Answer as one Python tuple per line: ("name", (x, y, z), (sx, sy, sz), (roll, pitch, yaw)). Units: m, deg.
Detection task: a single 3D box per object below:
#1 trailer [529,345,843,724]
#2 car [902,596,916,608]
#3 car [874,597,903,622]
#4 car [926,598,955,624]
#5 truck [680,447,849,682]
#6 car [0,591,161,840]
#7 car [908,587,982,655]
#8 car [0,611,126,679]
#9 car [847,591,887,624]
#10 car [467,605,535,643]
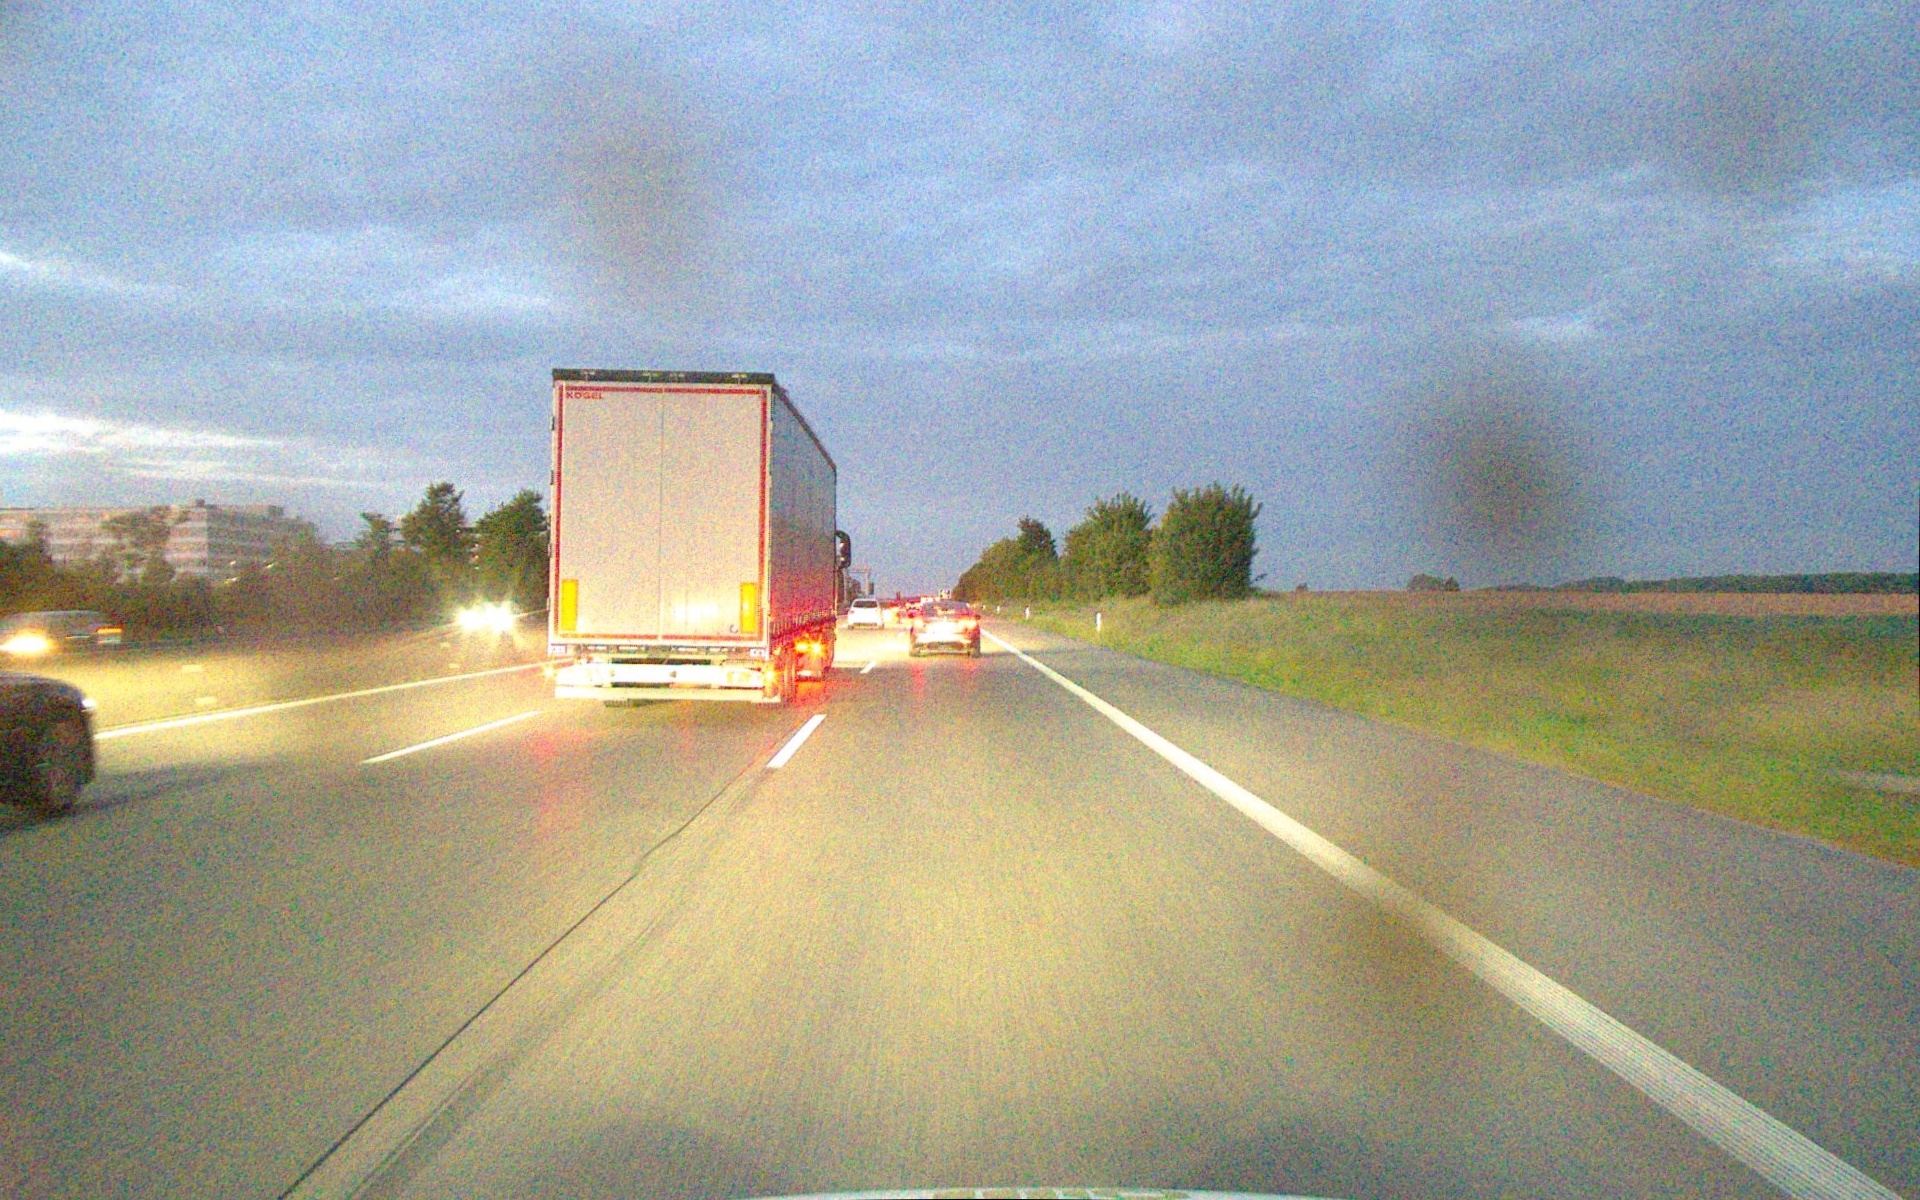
("trailer", (-3.518, -0.675, 25.438), (2.737, 4.157, 14.521), (0, 0, -1))
("car", (-6.878, 0.239, 224.653), (1.842, 1.579, 3.999), (1, 0, -1))
("car", (-4.440, 0.586, 103.457), (1.688, 1.497, 4.725), (1, 0, -1))
("car", (-1.273, 0.718, 107.967), (1.842, 1.579, 3.999), (1, 0, -1))
("truck", (-3.668, -0.616, 32.343), (2.721, 4.164, 6.101), (0, -1, -1))
("car", (-6.581, 0.683, 9.141), (1.777, 1.462, 5.393), (1, 0, -1))
("car", (-0.407, 0.531, 43.537), (1.842, 1.672, 3.999), (1, 0, -1))
("car", (-22.714, 1.078, 41.085), (1.708, 1.562, 4.520), (1, 0, -1))
("car", (-4.583, 0.391, 81.825), (1.708, 1.551, 4.413), (1, 0, 0))
("car", (-19.637, 1.003, 70.899), (1.708, 1.525, 4.520), (1, 0, -1))
